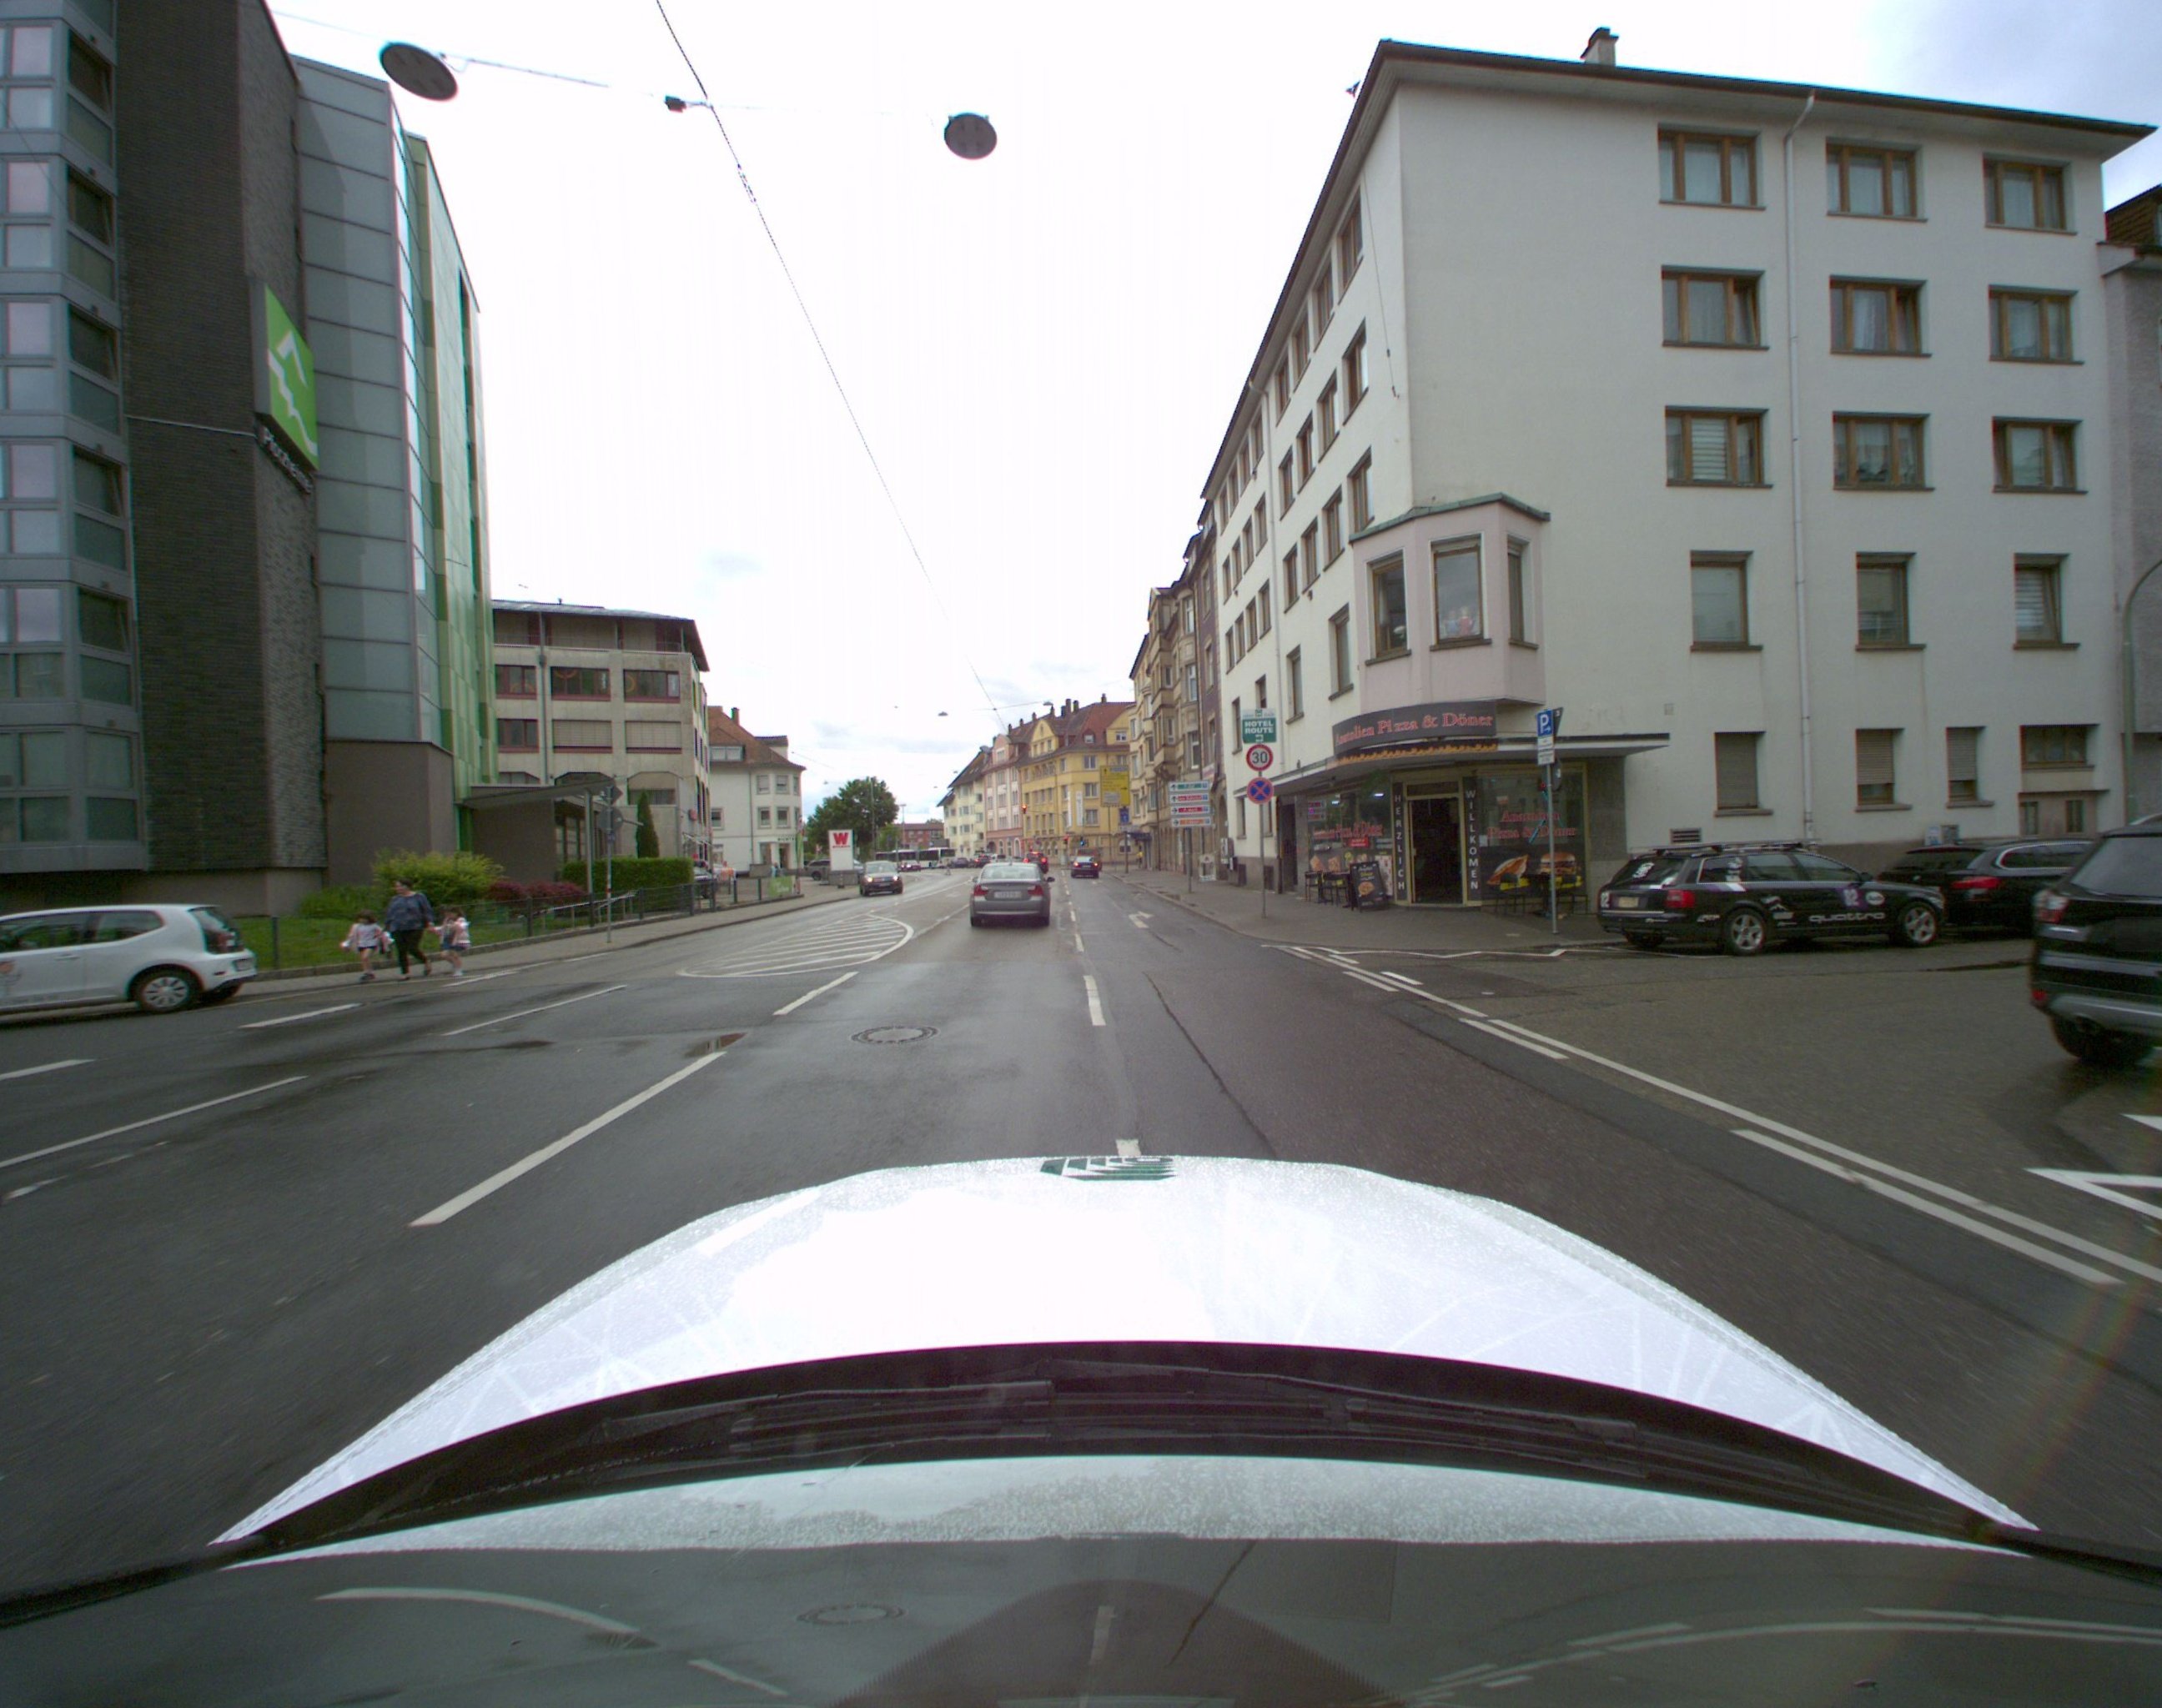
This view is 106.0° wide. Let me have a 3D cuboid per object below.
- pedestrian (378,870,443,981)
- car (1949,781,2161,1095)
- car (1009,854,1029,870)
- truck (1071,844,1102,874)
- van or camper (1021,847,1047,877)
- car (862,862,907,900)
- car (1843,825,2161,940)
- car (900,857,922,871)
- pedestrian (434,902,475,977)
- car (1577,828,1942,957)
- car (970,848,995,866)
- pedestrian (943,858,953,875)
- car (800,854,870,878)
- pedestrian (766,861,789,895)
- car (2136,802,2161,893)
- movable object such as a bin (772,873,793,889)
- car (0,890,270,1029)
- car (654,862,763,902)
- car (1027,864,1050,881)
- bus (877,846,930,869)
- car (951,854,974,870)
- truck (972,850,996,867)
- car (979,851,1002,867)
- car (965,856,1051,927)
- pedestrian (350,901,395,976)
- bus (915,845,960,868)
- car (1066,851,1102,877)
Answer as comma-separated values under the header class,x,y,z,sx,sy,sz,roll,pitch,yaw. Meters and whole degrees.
class,x,y,z,sx,sy,sz,roll,pitch,yaw
pedestrian,-11.094,1.167,13.488,0.574,1.762,0.579,-2,0,-8
car,8.110,0.429,4.936,4.136,1.772,1.868,-1,0,-8
car,-7.272,0.920,94.972,1.993,1.816,3.987,-2,-1,-9
truck,0.496,0.396,66.217,2.215,2.249,5.068,-1,0,4
van or camper,-3.613,0.588,62.430,1.851,2.146,4.135,-1,0,-5
car,-9.576,1.254,39.545,1.951,1.659,4.036,-2,0,-15
car,15.202,0.391,13.061,4.616,1.533,1.867,-2,0,-9
car,-21.062,1.255,100.675,1.853,1.684,3.969,-1,0,-23
pedestrian,-10.409,1.407,13.531,0.409,1.198,0.310,-2,0,-9
car,9.826,0.530,11.960,4.105,1.607,1.801,-2,-2,-8
car,-11.784,0.361,97.284,2.002,2.013,3.969,-2,0,-23
pedestrian,-11.709,1.121,71.838,0.763,1.529,0.504,0,-2,-23
car,-17.323,0.837,57.493,4.441,1.526,1.881,1,-1,-7
pedestrian,-15.260,1.213,40.979,0.745,1.685,0.752,-2,0,43
car,20.684,-0.146,13.710,3.887,1.579,1.904,-1,-1,-9
movable object such as a bin,-15.272,1.393,41.631,0.745,0.789,0.738,-1,0,43
car,-13.437,1.346,10.704,3.601,1.569,1.724,-1,0,-31
car,-15.360,1.100,33.937,1.983,1.439,4.660,-2,0,6
car,-3.650,1.568,69.217,1.800,1.406,4.675,-1,-1,-5
bus,-26.489,0.535,121.308,8.757,3.105,2.937,-2,0,40
car,-15.260,1.021,104.835,2.002,2.013,3.969,-2,0,-23
truck,-13.876,0.598,116.617,2.037,2.389,4.199,-1,0,-27
car,-12.310,0.649,110.796,1.771,2.180,3.964,1,-1,-27
car,-1.624,0.795,19.191,1.795,1.464,4.366,0,0,-3
pedestrian,-11.719,1.388,13.476,0.409,1.198,0.358,-2,0,-9
bus,-20.347,0.396,115.164,2.929,3.105,9.050,-2,0,-32
car,0.141,0.627,52.474,1.798,1.563,3.990,-1,-1,-7
